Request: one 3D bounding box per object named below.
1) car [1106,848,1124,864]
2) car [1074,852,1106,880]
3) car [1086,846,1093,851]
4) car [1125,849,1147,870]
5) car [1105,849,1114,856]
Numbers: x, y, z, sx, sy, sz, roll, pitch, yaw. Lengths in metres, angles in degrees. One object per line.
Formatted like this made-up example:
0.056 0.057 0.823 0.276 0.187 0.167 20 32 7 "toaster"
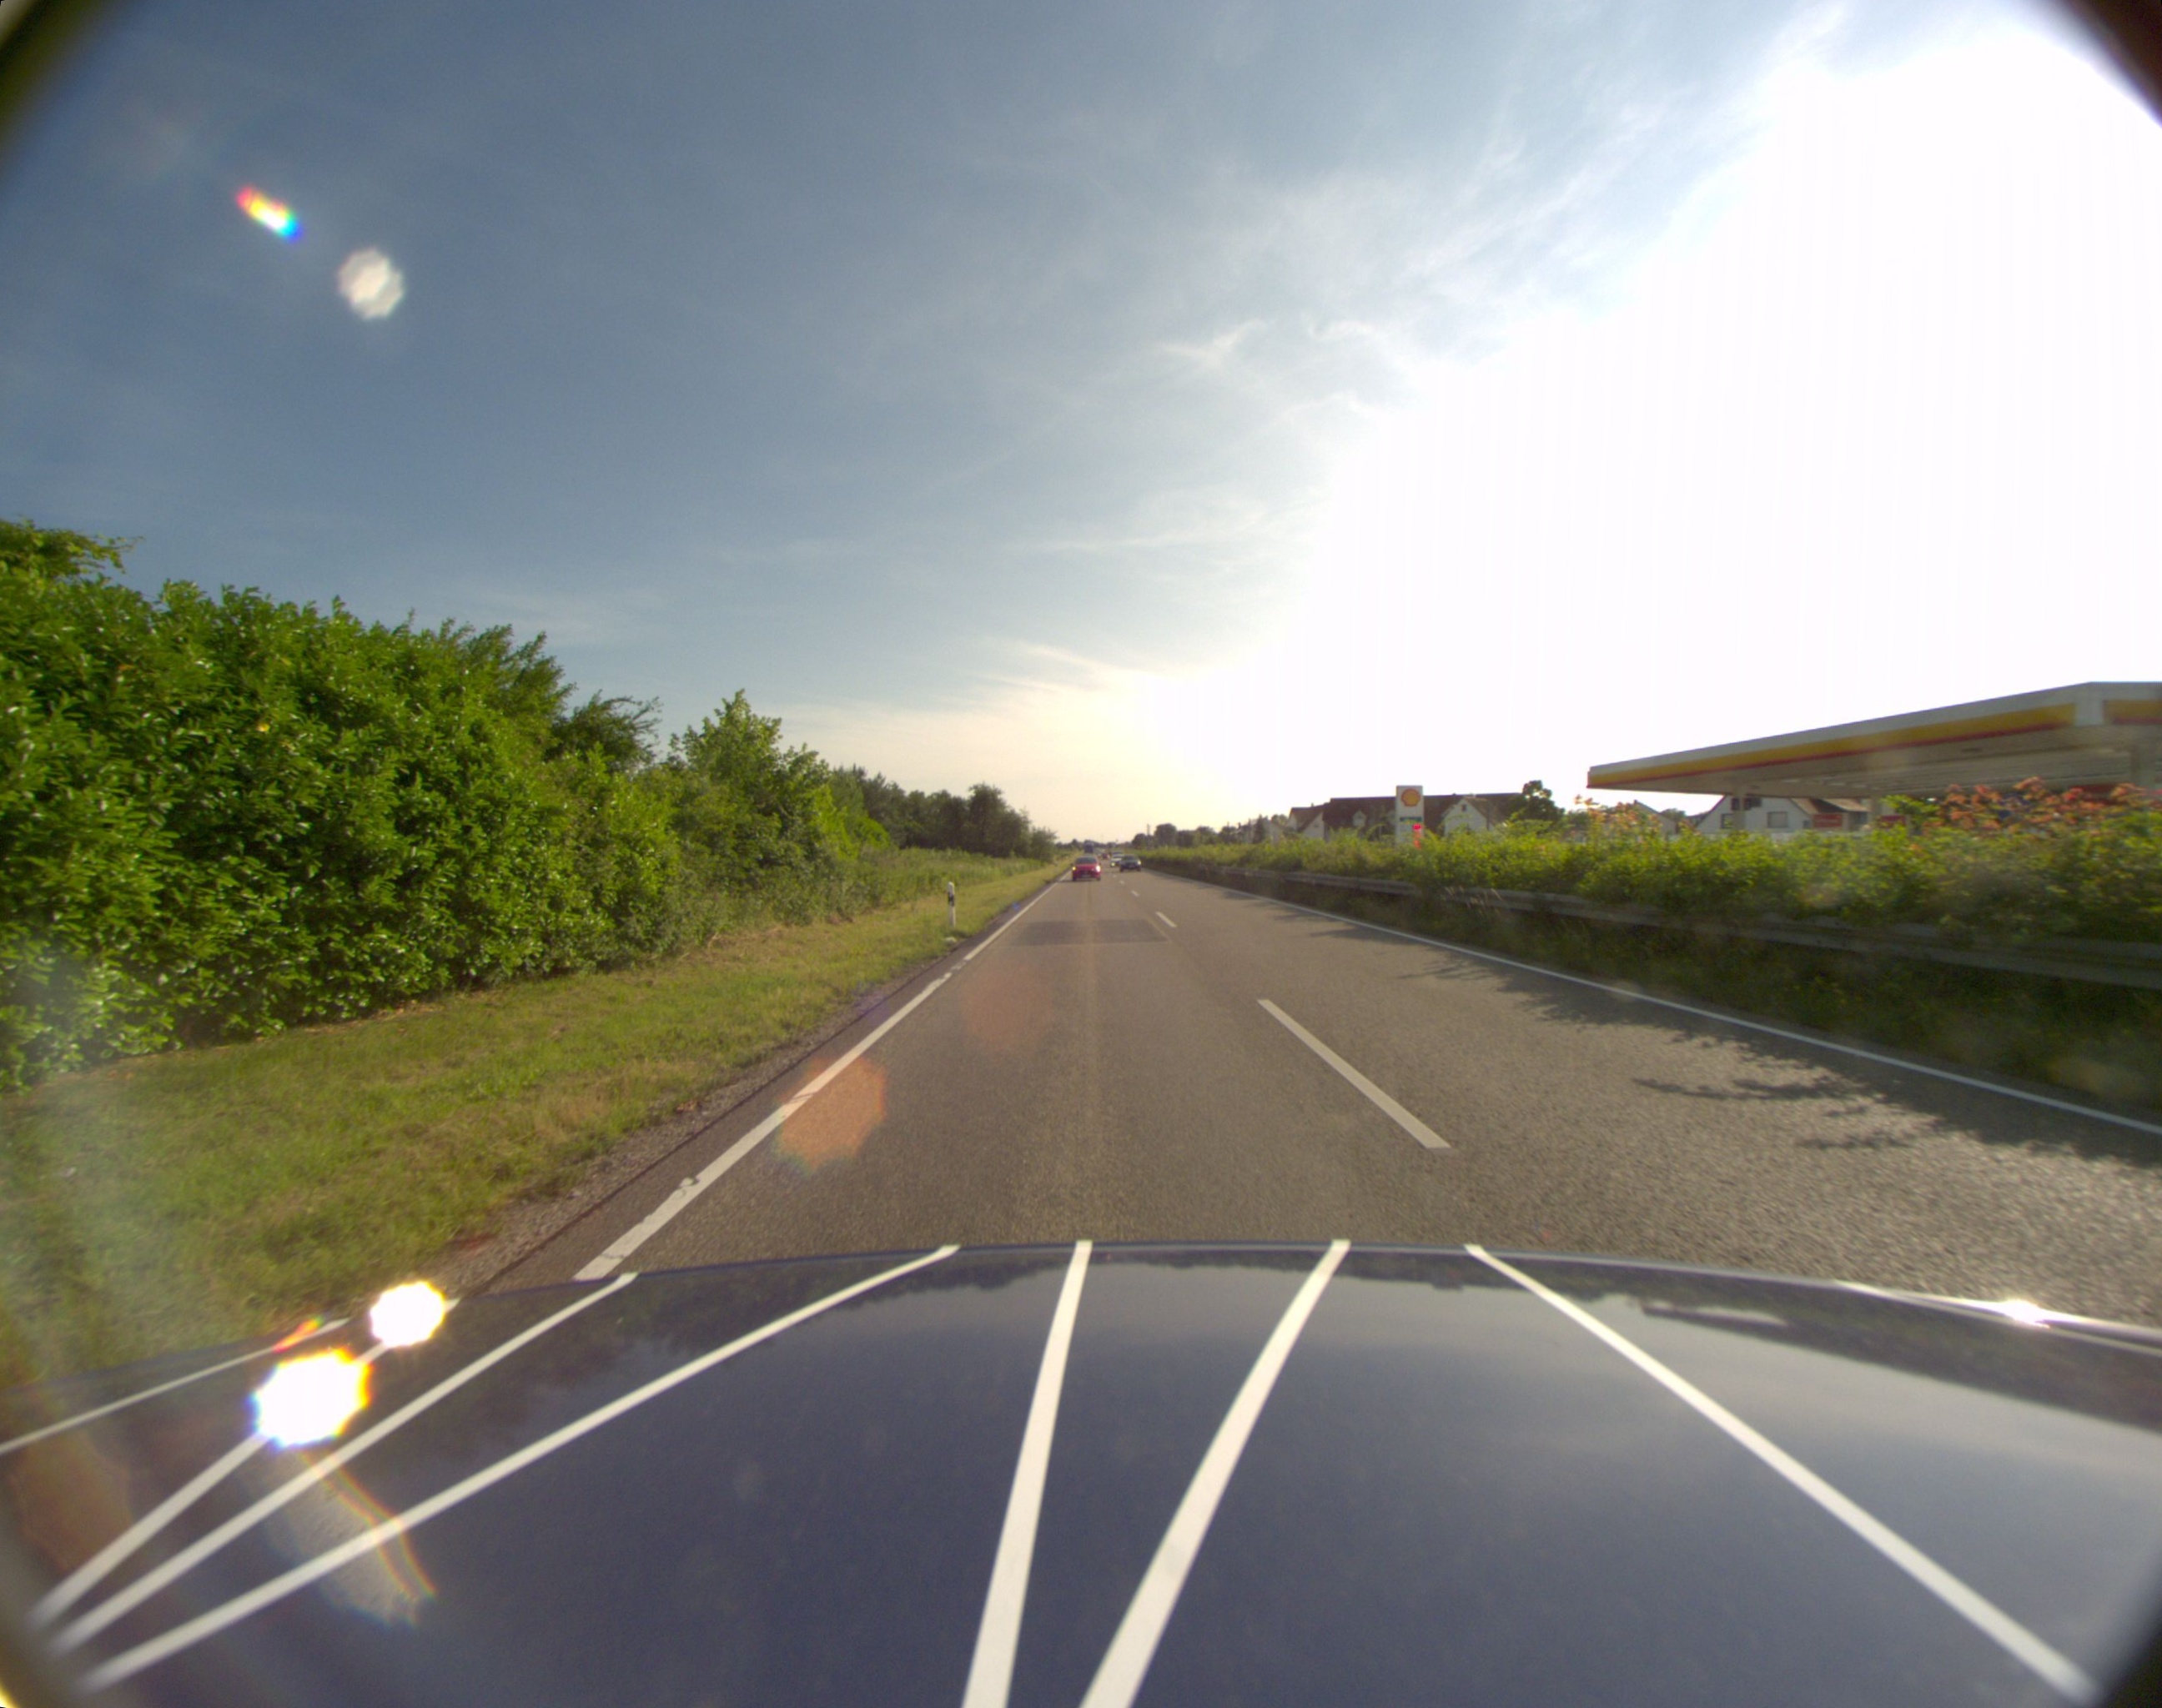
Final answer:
4.018 0.171 90.040 1.998 1.762 4.000 -2 1 2 "car"
0.590 0.680 46.873 1.821 1.565 4.000 -2 1 2 "car"
2.384 -1.646 213.195 1.998 1.412 4.000 -2 1 2 "car"
4.727 0.444 65.839 1.693 1.695 4.000 -2 1 2 "car"
6.133 -0.272 163.727 1.998 1.412 4.000 -2 1 2 "car"
